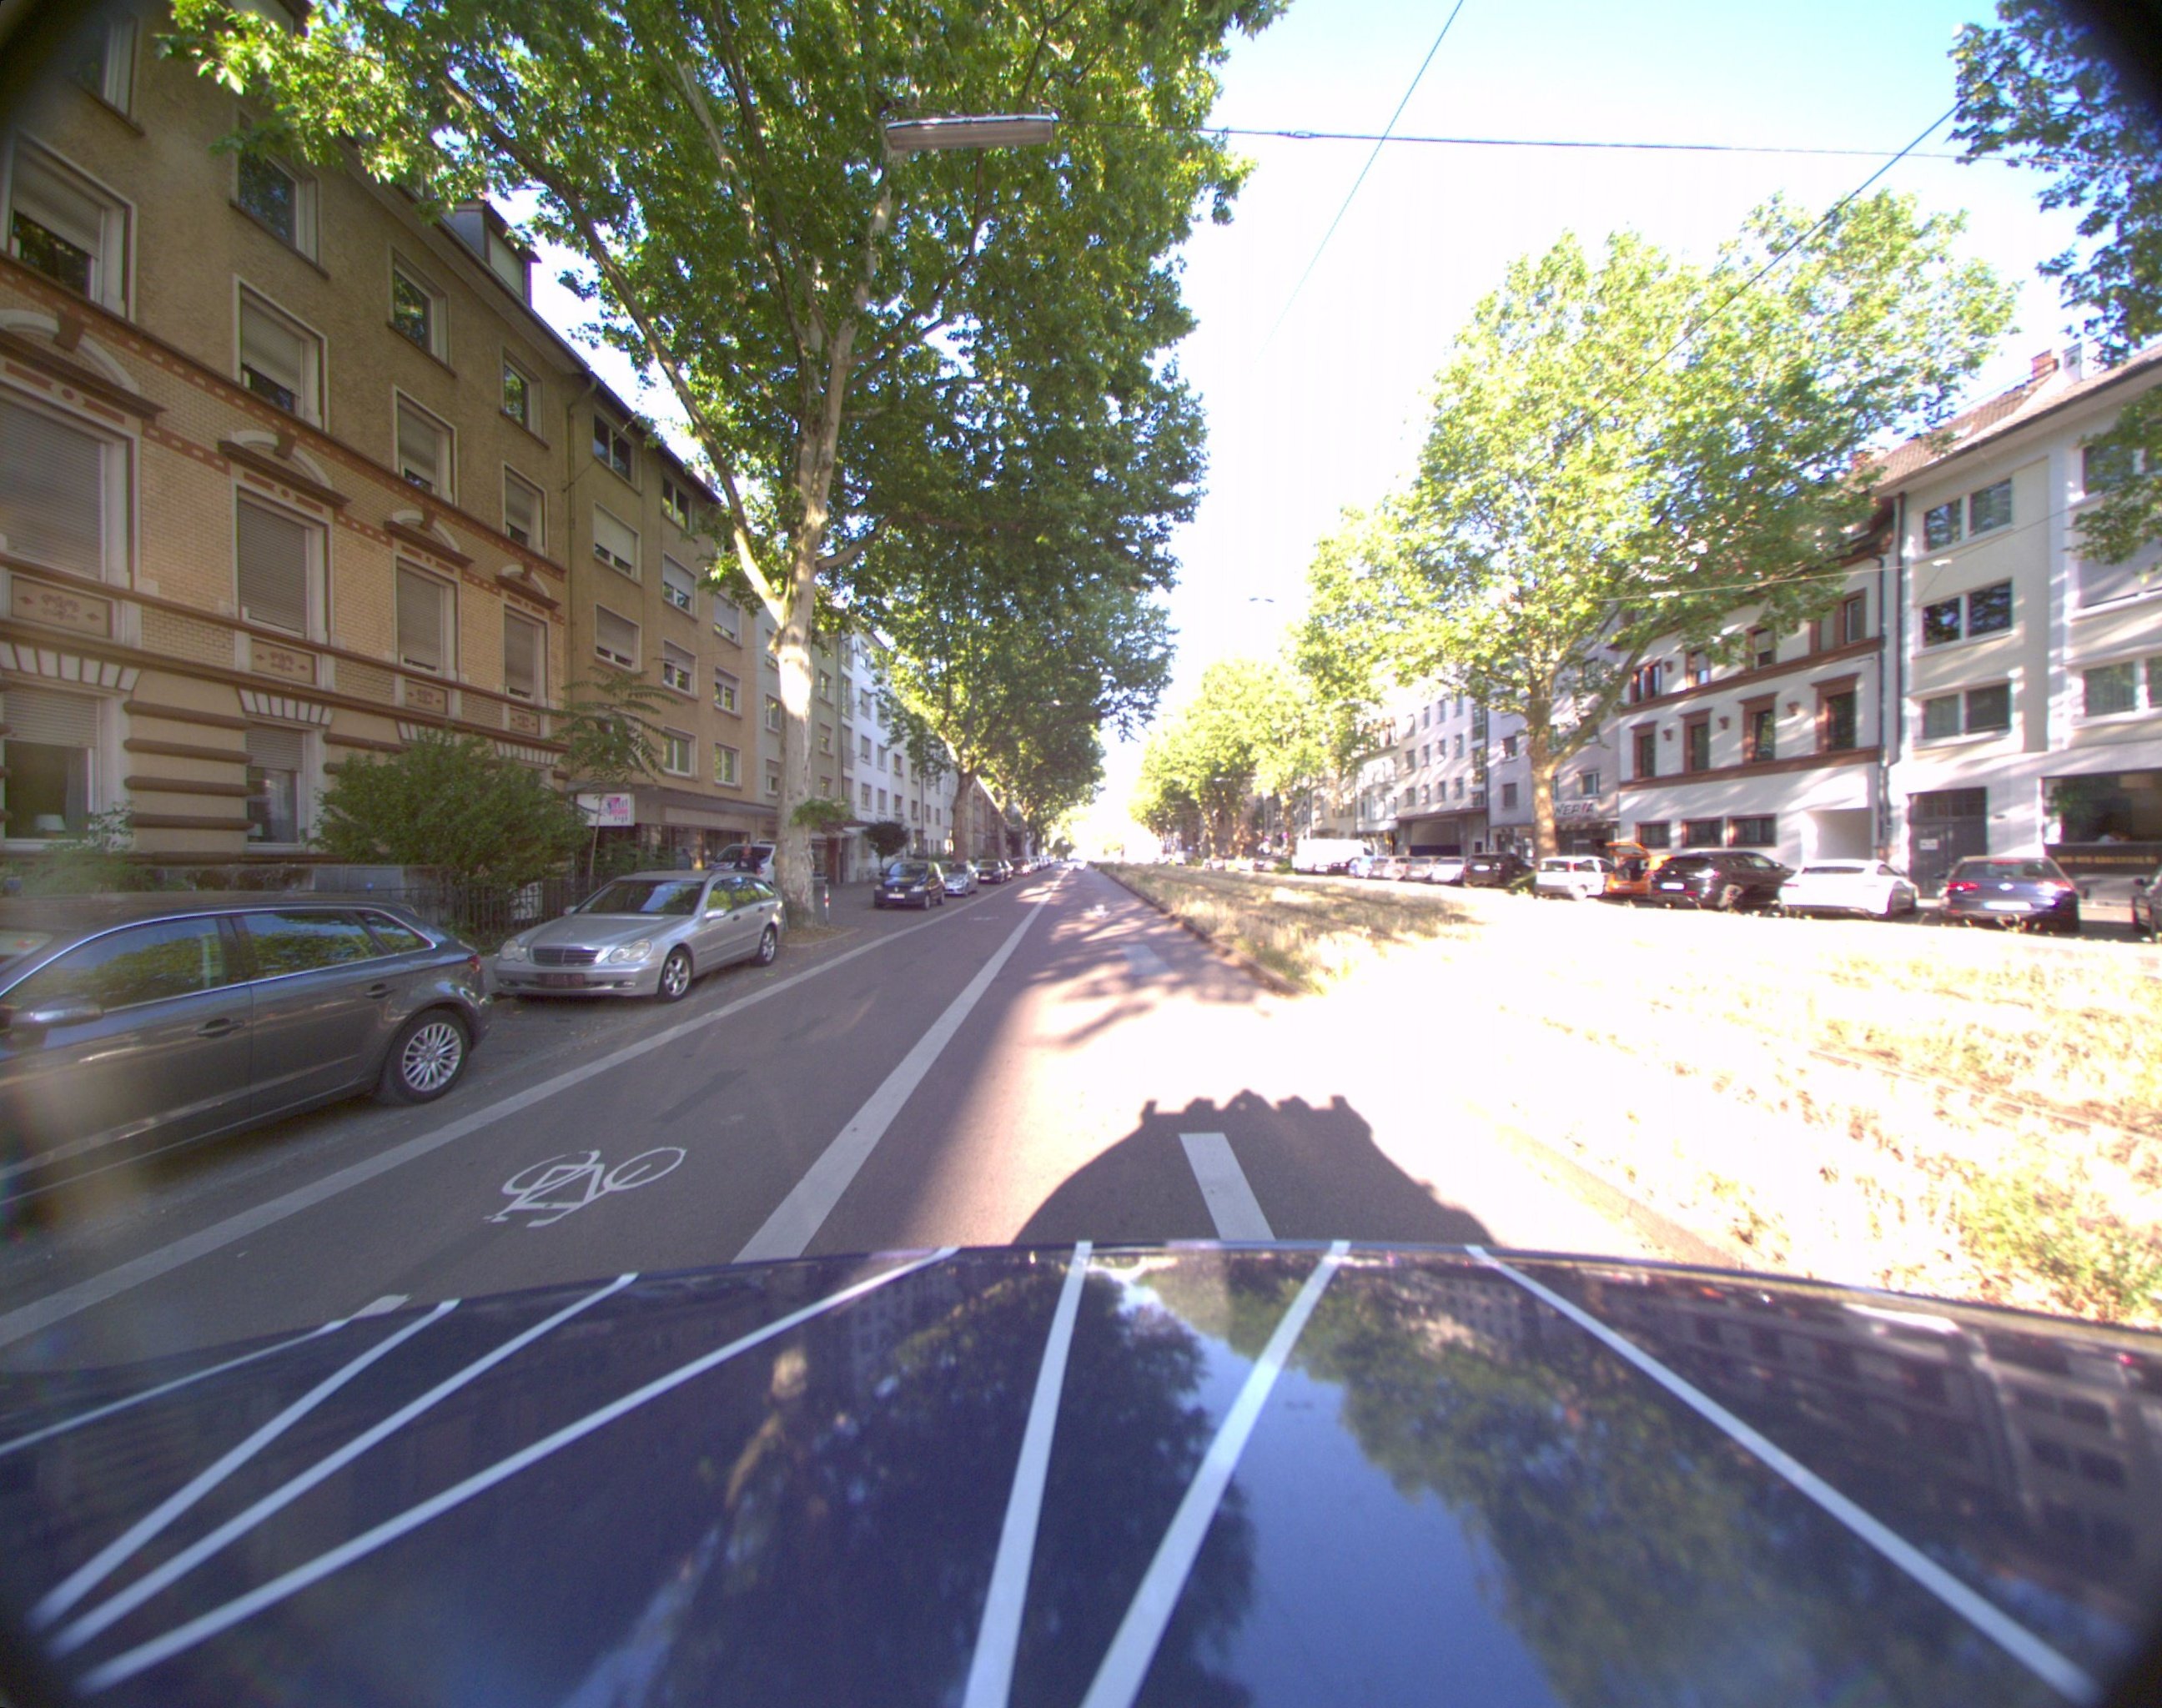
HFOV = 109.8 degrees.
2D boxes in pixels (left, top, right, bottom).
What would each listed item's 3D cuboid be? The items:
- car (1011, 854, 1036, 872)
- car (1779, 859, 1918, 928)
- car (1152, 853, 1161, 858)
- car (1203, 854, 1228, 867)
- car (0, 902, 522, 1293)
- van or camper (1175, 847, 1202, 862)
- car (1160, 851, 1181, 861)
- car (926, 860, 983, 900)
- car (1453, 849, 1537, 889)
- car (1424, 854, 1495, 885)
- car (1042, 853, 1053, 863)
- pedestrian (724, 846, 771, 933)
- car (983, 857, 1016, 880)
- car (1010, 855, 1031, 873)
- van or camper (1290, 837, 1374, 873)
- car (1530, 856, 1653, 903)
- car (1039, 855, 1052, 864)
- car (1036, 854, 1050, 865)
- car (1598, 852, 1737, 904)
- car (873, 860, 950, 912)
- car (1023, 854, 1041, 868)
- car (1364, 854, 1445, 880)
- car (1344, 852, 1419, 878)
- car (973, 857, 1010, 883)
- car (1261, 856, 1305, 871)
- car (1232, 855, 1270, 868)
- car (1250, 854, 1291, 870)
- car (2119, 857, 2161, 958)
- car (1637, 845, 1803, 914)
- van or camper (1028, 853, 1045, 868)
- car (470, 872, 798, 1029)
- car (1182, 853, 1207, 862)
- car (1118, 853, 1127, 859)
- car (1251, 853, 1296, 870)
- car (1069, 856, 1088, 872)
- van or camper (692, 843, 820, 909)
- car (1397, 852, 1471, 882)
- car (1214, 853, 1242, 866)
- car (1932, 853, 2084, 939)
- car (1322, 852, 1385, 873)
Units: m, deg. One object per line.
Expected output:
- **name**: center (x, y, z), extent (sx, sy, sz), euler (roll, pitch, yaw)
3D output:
- **car**: center (-5.485, 0.817, 73.267), extent (1.999, 1.557, 4.663), euler (2, 1, 0)
- **car**: center (18.652, 0.876, 18.409), extent (4.212, 1.325, 1.718), euler (-3, 1, -36)
- **car**: center (20.184, 0.365, 202.883), extent (1.998, 1.412, 4.000), euler (-2, 1, 2)
- **car**: center (15.040, 0.693, 85.187), extent (1.825, 1.382, 4.483), euler (2, 0, -1)
- **car**: center (-5.181, 1.066, 3.665), extent (1.714, 1.388, 4.321), euler (0, 0, 1)
- **van or camper**: center (18.359, 0.055, 129.726), extent (4.371, 2.386, 2.196), euler (-4, 2, -40)
- **car**: center (18.312, 0.413, 154.815), extent (4.007, 2.002, 1.995), euler (-3, 1, -42)
- **car**: center (-5.311, 1.058, 32.481), extent (1.699, 1.533, 4.776), euler (0, 0, -1)
- **car**: center (18.685, 0.631, 34.239), extent (4.008, 1.651, 1.995), euler (-1, 0, -41)
- **car**: center (18.904, 0.767, 37.870), extent (4.008, 1.377, 1.907), euler (-2, 0, -45)
- **car**: center (-5.600, 0.655, 127.093), extent (1.791, 1.585, 4.013), euler (1, 0, -2)
- **pedestrian**: center (-7.916, 0.810, 18.055), extent (0.684, 2.002, 1.011), euler (0, 1, -3)
- **car**: center (-5.403, 0.933, 50.571), extent (1.713, 1.407, 4.363), euler (2, 0, 0)
- **car**: center (-5.283, 0.866, 66.491), extent (1.748, 1.455, 4.024), euler (0, 0, -5)
- **van or camper**: center (18.981, 0.061, 57.459), extent (5.974, 2.631, 2.175), euler (-1, 0, -20)
- **car**: center (18.039, 0.832, 26.820), extent (4.369, 1.440, 1.655), euler (-2, 1, -26)
- **car**: center (-5.614, 0.844, 119.804), extent (1.790, 1.458, 3.569), euler (1, 0, 0)
- **car**: center (-5.488, 0.796, 109.731), extent (1.790, 1.609, 3.829), euler (1, 0, 0)
- **car**: center (19.499, 0.754, 25.270), extent (4.003, 1.471, 1.774), euler (-3, 1, -20)
- **car**: center (-5.427, 0.972, 24.725), extent (1.658, 1.536, 3.999), euler (0, 0, -1)
- **car**: center (-5.548, 0.802, 86.409), extent (1.702, 1.517, 4.194), euler (0, 0, 0)
- **car**: center (19.171, 0.739, 45.088), extent (4.002, 1.483, 1.948), euler (0, 0, -13)
- **car**: center (18.962, 0.678, 48.024), extent (3.998, 1.412, 1.857), euler (-3, 1, -4)
- **car**: center (-5.318, 0.924, 45.680), extent (1.713, 1.407, 4.363), euler (2, 0, 0)
- **car**: center (18.697, 0.839, 70.267), extent (4.014, 1.349, 1.797), euler (1, 0, -37)
- **car**: center (18.208, 0.809, 81.438), extent (3.687, 1.382, 1.822), euler (-1, 0, -31)
- **car**: center (19.218, 0.830, 76.935), extent (4.008, 1.524, 1.821), euler (1, -1, -36)
- **car**: center (19.057, 0.834, 12.692), extent (4.007, 1.433, 1.717), euler (-3, 1, -41)
- **car**: center (18.298, 0.706, 21.758), extent (4.370, 1.776, 1.989), euler (1, 1, -26)
- **van or camper**: center (-5.413, 0.774, 92.708), extent (1.790, 1.710, 4.379), euler (1, 0, 1)
- **car**: center (-5.342, 1.024, 9.931), extent (1.678, 1.443, 4.570), euler (0, 0, -2)
- **car**: center (18.973, 0.618, 127.204), extent (4.006, 1.240, 1.726), euler (-4, 1, -34)
- **car**: center (11.133, 0.473, 205.262), extent (1.997, 1.477, 4.002), euler (-2, 1, 8)
- **car**: center (18.643, 0.743, 73.555), extent (4.169, 1.583, 1.932), euler (2, -1, -36)
- **car**: center (-0.260, 1.006, 80.562), extent (1.893, 1.501, 4.000), euler (-2, 1, 1)
- **van or camper**: center (-10.436, 0.641, 24.959), extent (1.947, 1.911, 5.390), euler (0, 0, -1)
- **car**: center (19.061, 0.674, 40.957), extent (4.006, 1.414, 1.752), euler (-3, 1, -34)
- **car**: center (18.830, 0.661, 97.413), extent (1.726, 1.643, 4.009), euler (-1, -1, 40)
- **car**: center (19.362, 0.793, 16.032), extent (4.007, 1.433, 1.797), euler (-3, 1, -43)
- **car**: center (19.705, 0.605, 54.950), extent (4.004, 1.482, 1.996), euler (0, 0, -22)
